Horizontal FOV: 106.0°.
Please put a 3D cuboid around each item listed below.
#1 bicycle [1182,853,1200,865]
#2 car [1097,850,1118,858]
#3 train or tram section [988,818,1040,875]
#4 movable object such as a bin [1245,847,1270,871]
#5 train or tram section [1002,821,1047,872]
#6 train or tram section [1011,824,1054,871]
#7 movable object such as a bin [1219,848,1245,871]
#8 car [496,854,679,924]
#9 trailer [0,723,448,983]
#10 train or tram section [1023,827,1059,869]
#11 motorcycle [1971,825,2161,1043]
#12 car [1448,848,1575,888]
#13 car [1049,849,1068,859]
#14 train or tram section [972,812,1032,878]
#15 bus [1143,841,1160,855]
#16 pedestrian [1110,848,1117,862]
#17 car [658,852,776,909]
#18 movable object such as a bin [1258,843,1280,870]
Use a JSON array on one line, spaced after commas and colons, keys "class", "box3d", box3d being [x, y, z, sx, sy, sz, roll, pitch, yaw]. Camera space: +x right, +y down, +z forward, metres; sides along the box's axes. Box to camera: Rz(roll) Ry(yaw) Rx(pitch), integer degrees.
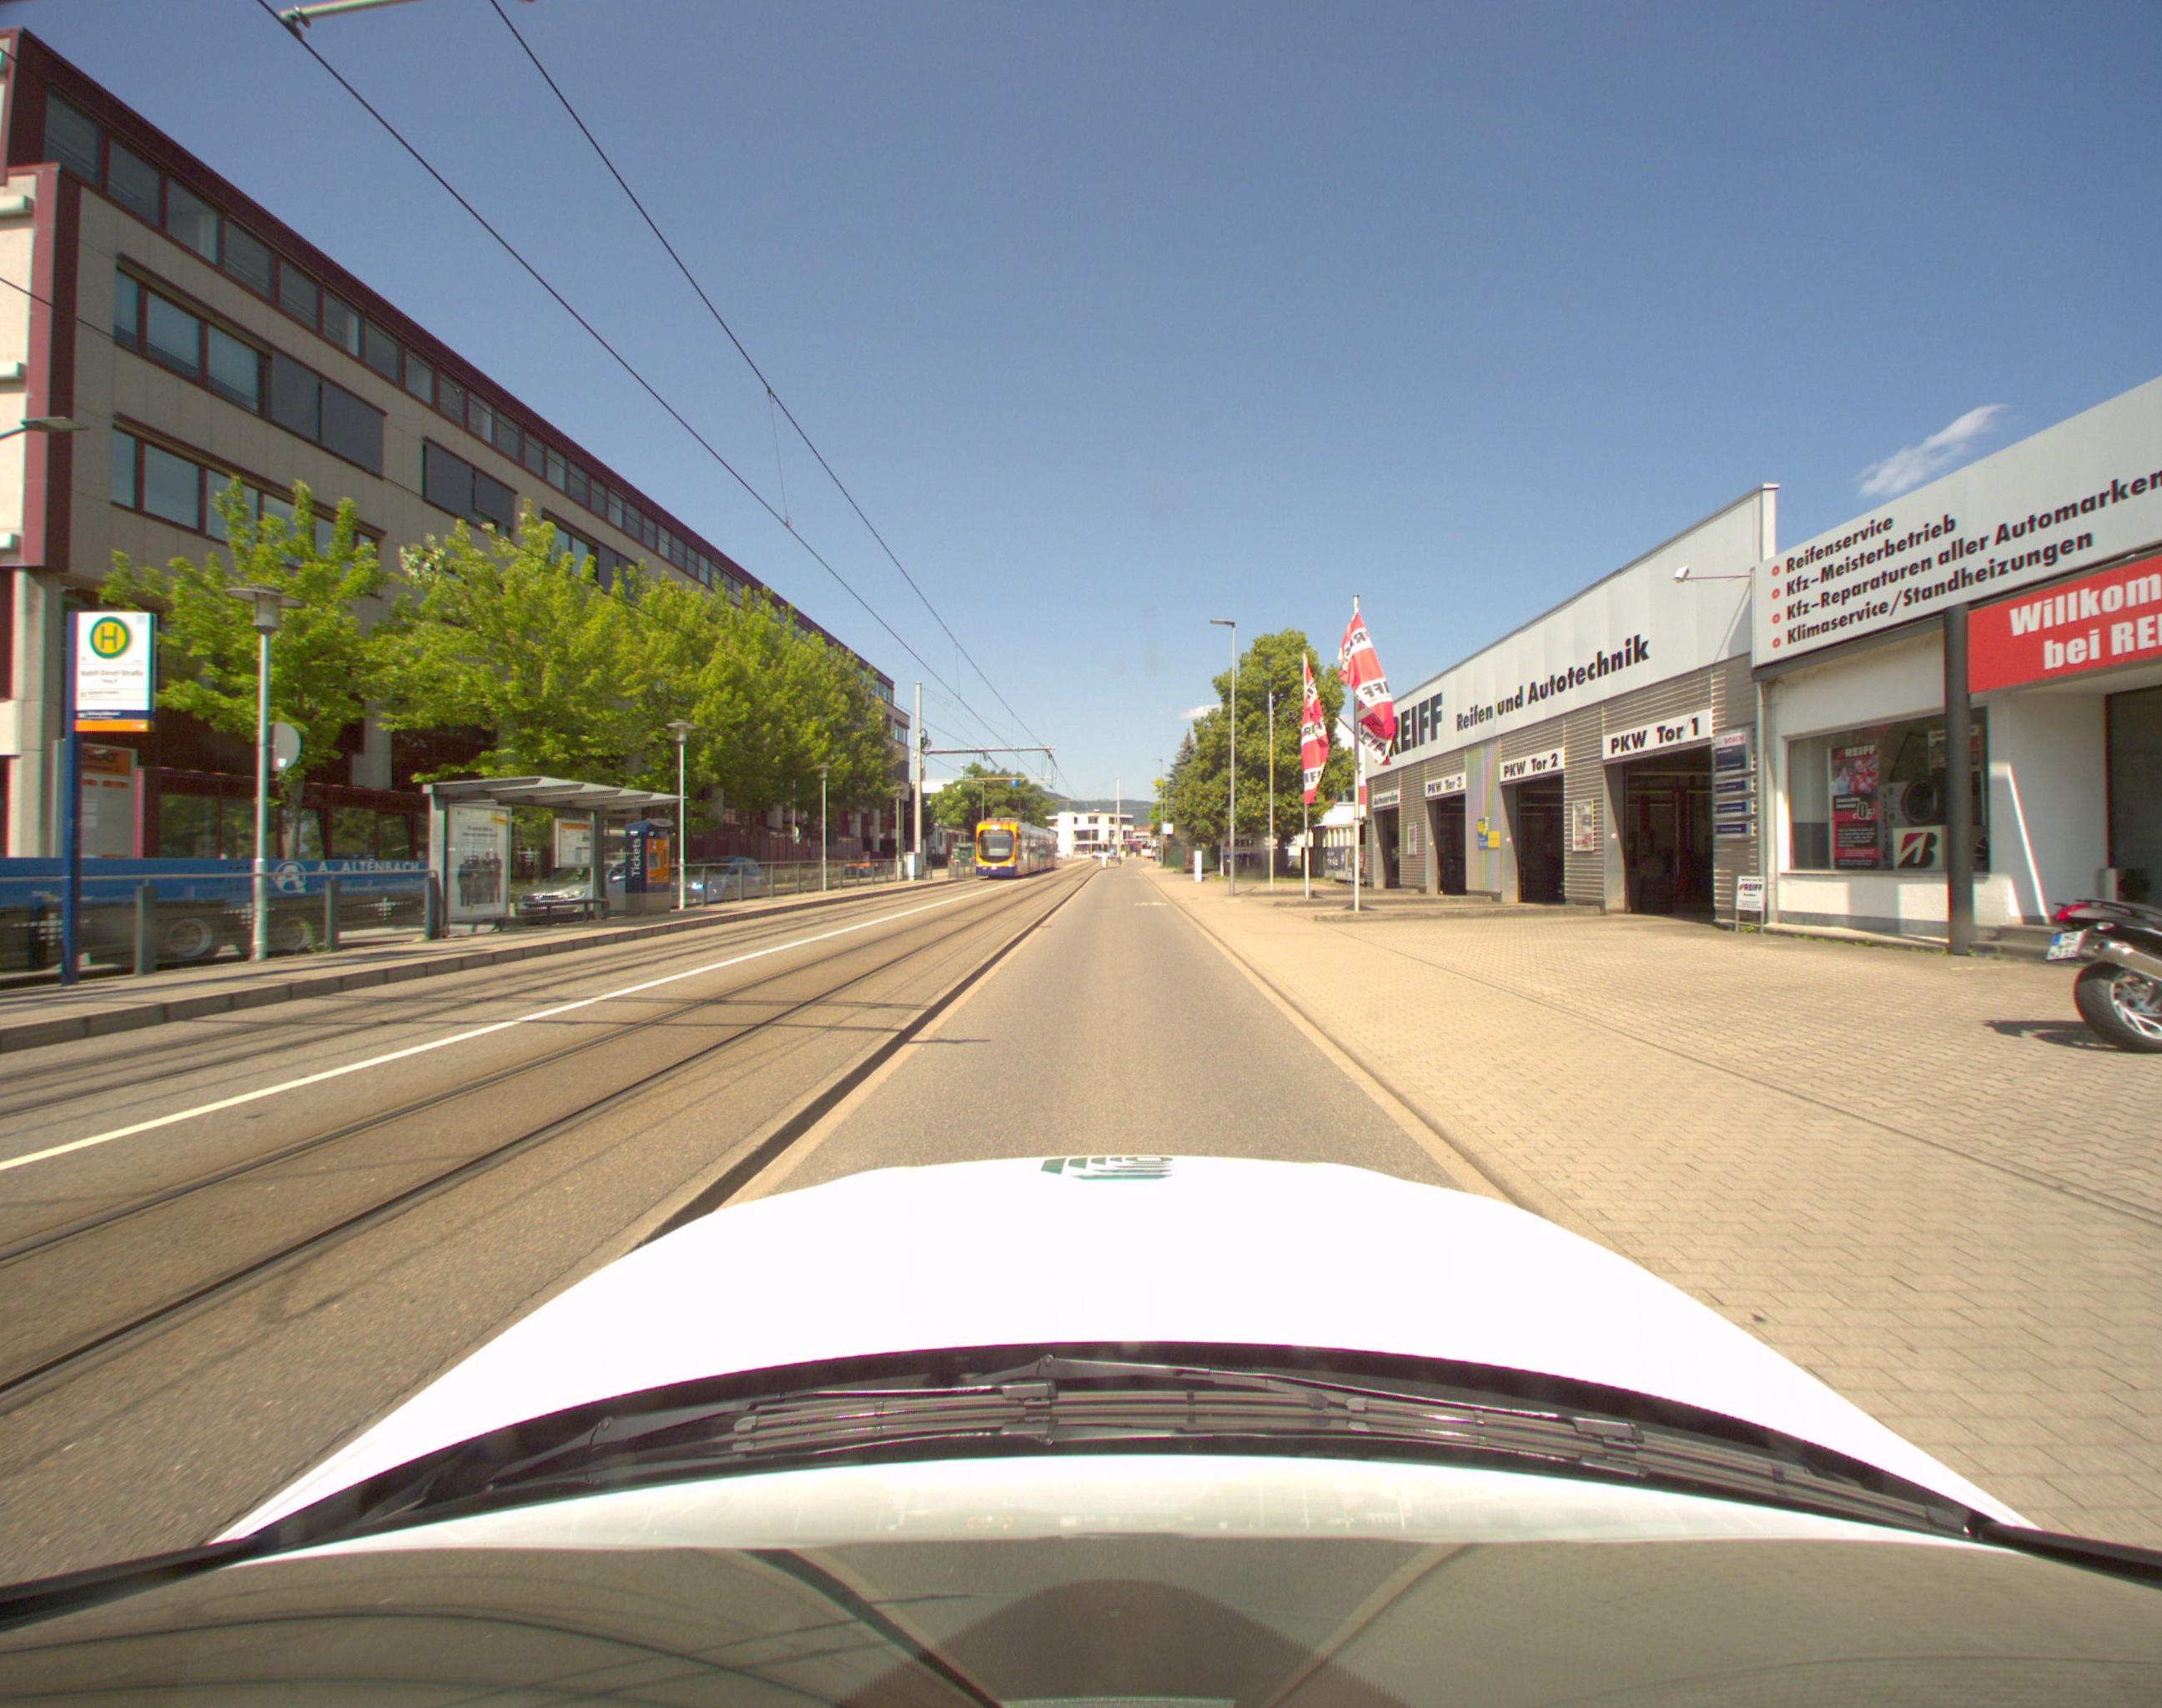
[{"class": "bicycle", "box3d": [9.204, 0.446, 68.201, 1.465, 0.990, 0.388, -1, -3, 1]}, {"class": "car", "box3d": [5.357, -0.023, 165.049, 3.956, 1.750, 1.783, 0, 0, 16]}, {"class": "train or tram section", "box3d": [-4.194, -0.473, 52.423, 2.601, 3.447, 5.847, -1, 0, 2]}, {"class": "movable object such as a bin", "box3d": [10.826, 0.296, 49.888, 1.304, 1.430, 0.890, -1, -2, 27]}, {"class": "train or tram section", "box3d": [-3.974, -0.497, 57.859, 2.601, 3.447, 5.013, -1, 0, 2]}, {"class": "train or tram section", "box3d": [-3.715, -0.517, 63.951, 2.570, 3.447, 7.141, -1, 0, 2]}, {"class": "movable object such as a bin", "box3d": [9.363, 0.359, 50.593, 1.371, 1.430, 0.996, -1, -2, 27]}, {"class": "car", "box3d": [-11.820, 0.759, 19.889, 1.716, 1.472, 4.281, -2, 0, 2]}, {"class": "trailer", "box3d": [-12.271, -0.009, 10.073, 2.787, 2.628, 7.602, -1, 0, 1]}, {"class": "train or tram section", "box3d": [-3.390, -0.524, 70.712, 2.570, 3.447, 6.366, -1, 0, 2]}, {"class": "motorcycle", "box3d": [7.456, 0.459, 5.416, 2.175, 1.308, 0.731, -3, -1, 1]}, {"class": "car", "box3d": [15.665, 0.483, 29.743, 3.752, 1.376, 1.724, 0, 0, -2]}, {"class": "car", "box3d": [-4.493, 0.043, 164.540, 1.842, 1.937, 4.026, 2, 2, 35]}, {"class": "train or tram section", "box3d": [-4.422, -0.506, 46.632, 2.601, 3.533, 5.746, -1, 0, 2]}, {"class": "bus", "box3d": [15.129, -1.316, 173.931, 2.419, 2.880, 8.824, 0, 0, 13]}, {"class": "pedestrian", "box3d": [4.060, 0.088, 101.560, 0.740, 1.740, 0.728, -1, 0, 2]}, {"class": "car", "box3d": [-11.325, 0.760, 25.683, 1.716, 1.584, 4.073, -3, 0, 2]}, {"class": "movable object such as a bin", "box3d": [11.103, 0.180, 48.190, 0.975, 1.547, 1.320, 0, -2, -1]}]
